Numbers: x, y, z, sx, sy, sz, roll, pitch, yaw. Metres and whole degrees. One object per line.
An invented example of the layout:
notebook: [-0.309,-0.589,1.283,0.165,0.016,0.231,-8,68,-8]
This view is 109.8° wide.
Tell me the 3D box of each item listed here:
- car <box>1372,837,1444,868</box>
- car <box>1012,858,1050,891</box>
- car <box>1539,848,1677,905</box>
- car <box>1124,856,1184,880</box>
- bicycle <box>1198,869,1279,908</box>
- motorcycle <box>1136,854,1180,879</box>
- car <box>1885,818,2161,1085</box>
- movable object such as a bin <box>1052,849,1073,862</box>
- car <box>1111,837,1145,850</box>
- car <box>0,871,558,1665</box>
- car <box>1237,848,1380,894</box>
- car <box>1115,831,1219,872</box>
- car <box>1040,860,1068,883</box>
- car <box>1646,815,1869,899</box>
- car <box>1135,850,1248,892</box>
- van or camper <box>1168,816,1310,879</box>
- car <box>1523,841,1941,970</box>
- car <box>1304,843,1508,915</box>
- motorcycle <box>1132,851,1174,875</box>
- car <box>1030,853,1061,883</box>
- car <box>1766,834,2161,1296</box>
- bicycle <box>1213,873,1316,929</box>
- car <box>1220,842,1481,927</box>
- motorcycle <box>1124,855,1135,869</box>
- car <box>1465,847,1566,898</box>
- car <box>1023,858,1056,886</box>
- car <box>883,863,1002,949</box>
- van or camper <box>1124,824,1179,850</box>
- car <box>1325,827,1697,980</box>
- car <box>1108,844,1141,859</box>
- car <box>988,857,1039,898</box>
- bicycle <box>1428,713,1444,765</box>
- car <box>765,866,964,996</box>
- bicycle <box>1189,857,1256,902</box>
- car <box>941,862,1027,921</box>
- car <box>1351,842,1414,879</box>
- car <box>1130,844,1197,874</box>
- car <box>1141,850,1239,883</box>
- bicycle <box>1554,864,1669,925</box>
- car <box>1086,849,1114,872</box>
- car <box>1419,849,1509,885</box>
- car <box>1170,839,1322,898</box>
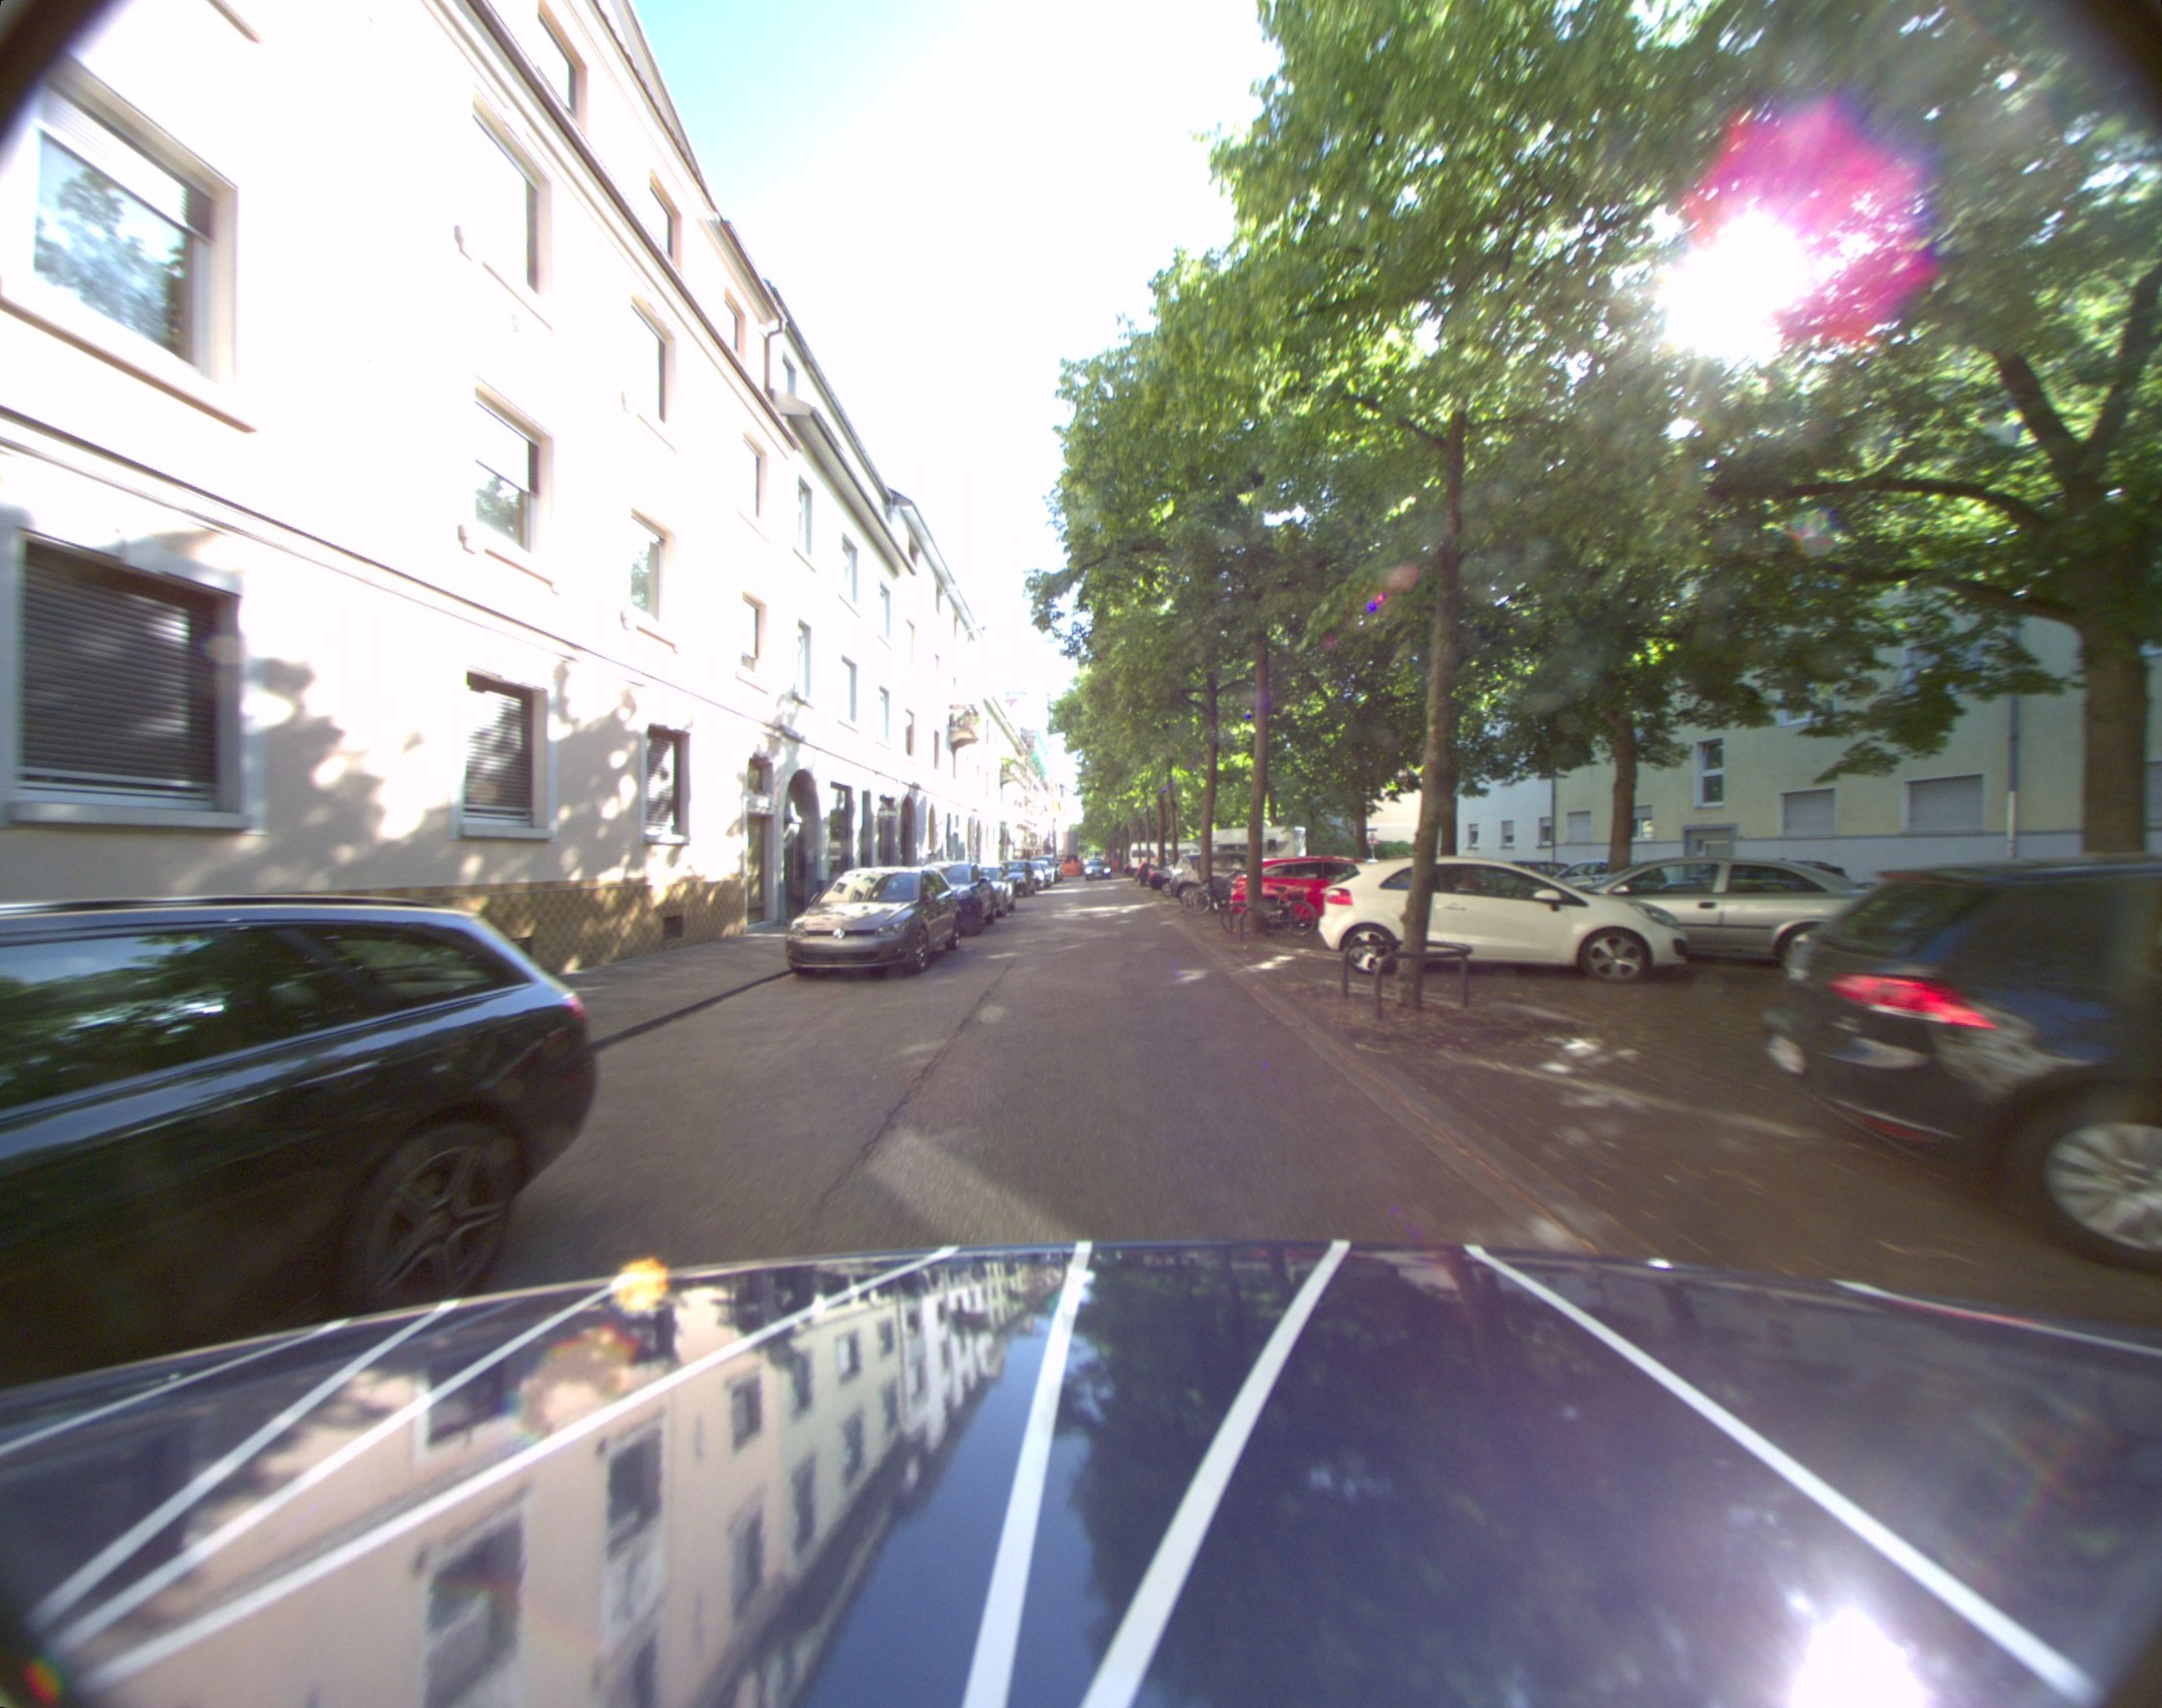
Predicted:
car: [16.340,-0.074,38.151,1.754,1.427,4.081,1,0,-1]
car: [-2.443,0.971,37.905,1.603,1.484,3.966,1,0,1]
car: [15.779,0.637,22.995,1.620,1.566,3.579,1,0,-1]
car: [5.471,1.071,57.132,4.090,1.516,1.705,-5,-2,31]
bicycle: [3.917,0.865,18.930,1.900,0.913,0.379,-2,1,21]
motorcycle: [3.919,0.610,38.762,2.151,1.223,0.882,-1,1,10]
car: [7.863,0.571,4.493,3.905,1.546,1.850,0,0,32]
movable object such as a bin: [-2.222,0.206,90.728,1.872,1.518,1.631,0,1,35]
car: [5.431,-1.207,88.185,3.558,1.240,1.661,-3,0,31]
car: [-3.085,0.862,1.004,1.810,1.554,4.320,0,0,0]
car: [7.512,0.537,25.224,4.187,1.383,1.821,-1,1,35]
car: [5.568,-0.151,49.648,6.310,2.544,2.342,-1,1,33]
car: [-1.876,1.191,53.975,1.709,1.503,4.284,0,0,1]
car: [15.583,0.067,17.811,1.705,1.743,3.837,0,0,-2]
car: [4.203,0.606,29.213,4.008,1.465,1.630,1,1,36]
van or camper: [7.651,-0.274,37.036,6.290,2.808,2.412,-2,1,30]
car: [8.344,0.575,10.248,3.989,1.427,1.800,-1,1,35]
car: [7.438,0.525,17.450,4.105,1.464,1.875,-1,1,30]
motorcycle: [4.390,0.524,46.227,2.326,1.327,0.968,-3,1,-8]
car: [-2.232,0.860,48.947,1.775,1.783,3.989,0,0,0]
car: [5.118,0.659,2.435,4.098,1.473,1.735,-1,1,32]
bicycle: [3.377,0.869,14.021,1.813,0.988,0.426,-1,1,16]
car: [5.332,0.572,15.279,4.616,1.477,1.764,-2,1,33]
motorcycle: [4.619,0.753,72.353,0.631,1.317,2.231,0,0,16]
car: [15.664,0.622,27.602,1.478,1.667,3.600,3,0,-1]
car: [-2.270,0.982,42.779,1.611,1.412,4.568,0,0,0]
car: [-2.911,1.035,16.867,1.771,1.542,4.183,-2,0,0]
van or camper: [8.451,-2.029,90.994,6.016,2.984,2.404,0,1,30]
car: [5.129,0.547,9.509,3.685,1.587,1.775,-2,1,26]
car: [6.194,-0.385,108.920,4.386,2.155,1.774,0,1,28]
car: [-2.733,0.934,31.628,1.584,1.542,4.042,-1,0,2]
bicycle: [9.806,-3.152,21.005,0.355,1.193,1.804,-2,1,25]
car: [-2.974,0.975,11.337,1.696,1.459,4.005,-2,0,1]
bicycle: [3.797,0.690,20.433,1.687,1.152,0.379,-2,1,21]
car: [-2.667,0.998,21.850,1.774,1.423,4.291,-1,0,1]
car: [17.028,0.345,43.089,1.998,2.002,4.000,0,0,1]
car: [4.469,0.254,41.767,1.666,1.608,3.870,0,0,-31]
car: [5.023,0.556,35.192,4.146,1.417,1.718,0,1,33]
bicycle: [9.771,0.741,14.026,1.755,1.082,0.389,-1,1,7]
car: [1.359,0.440,53.041,1.792,1.510,4.001,0,0,4]
car: [16.431,0.537,32.858,1.648,1.391,4.304,-3,0,-1]
car: [4.950,0.443,22.882,4.079,1.643,1.866,-2,1,28]
